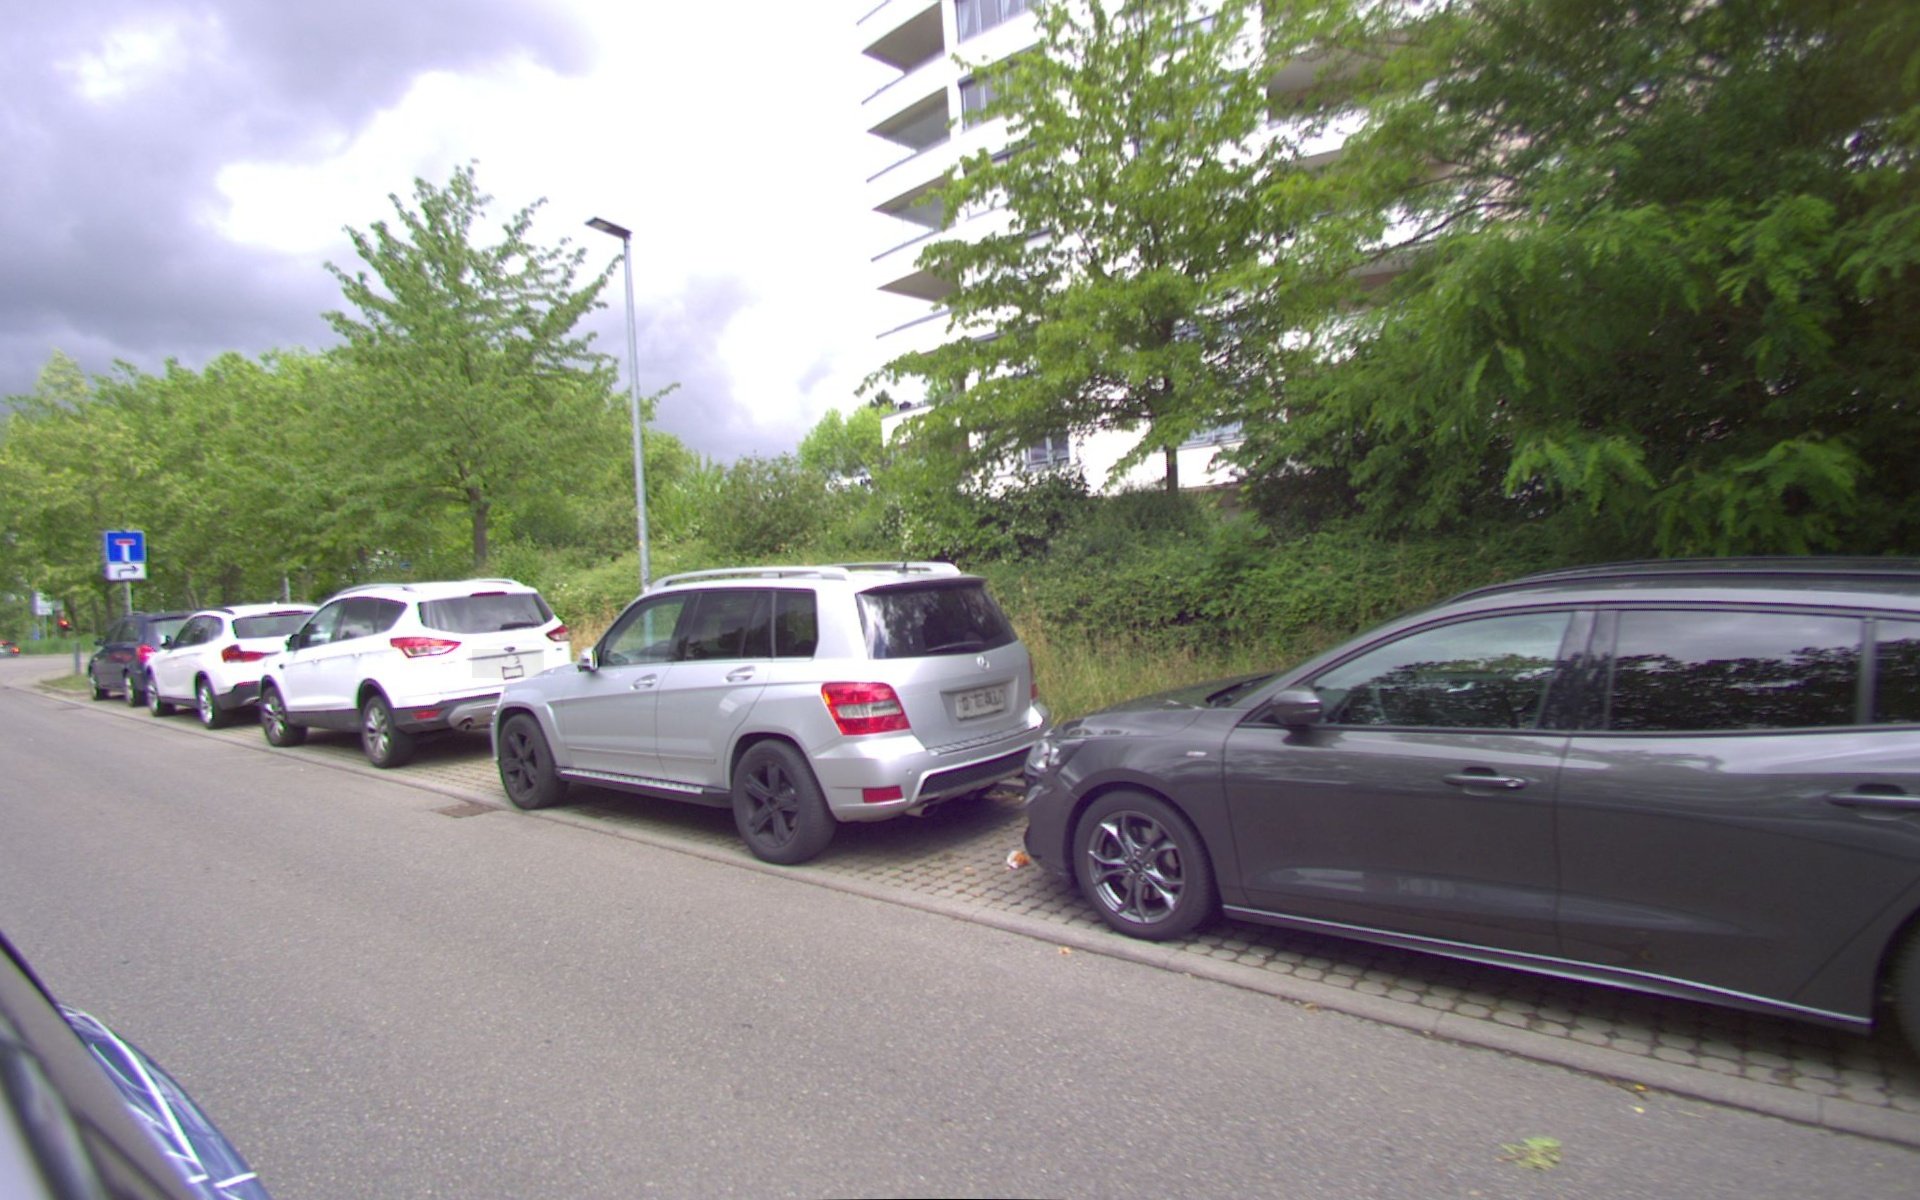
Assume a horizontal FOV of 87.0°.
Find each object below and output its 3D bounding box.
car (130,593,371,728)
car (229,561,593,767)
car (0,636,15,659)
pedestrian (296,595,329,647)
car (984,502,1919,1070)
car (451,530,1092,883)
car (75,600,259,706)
[{"bbox_3d":[-10.074,0.796,14.246,4.227,1.522,1.673,-2,3,40],"label":"car"},{"bbox_3d":[-5.933,0.592,10.705,4.433,1.676,1.789,-2,3,40],"label":"car"},{"bbox_3d":[-65.509,3.255,68.746,1.734,1.527,4.002,-2,0,-45],"label":"car"},{"bbox_3d":[-21.299,0.696,33.280,0.719,1.623,0.626,-5,-2,38],"label":"pedestrian"},{"bbox_3d":[2.378,0.459,3.812,4.453,1.475,1.673,-2,3,40],"label":"car"},{"bbox_3d":[-1.520,0.528,6.886,4.475,1.627,1.781,-2,3,40],"label":"car"},{"bbox_3d":[-13.689,0.874,17.402,3.951,1.498,1.673,-2,3,41],"label":"car"}]
